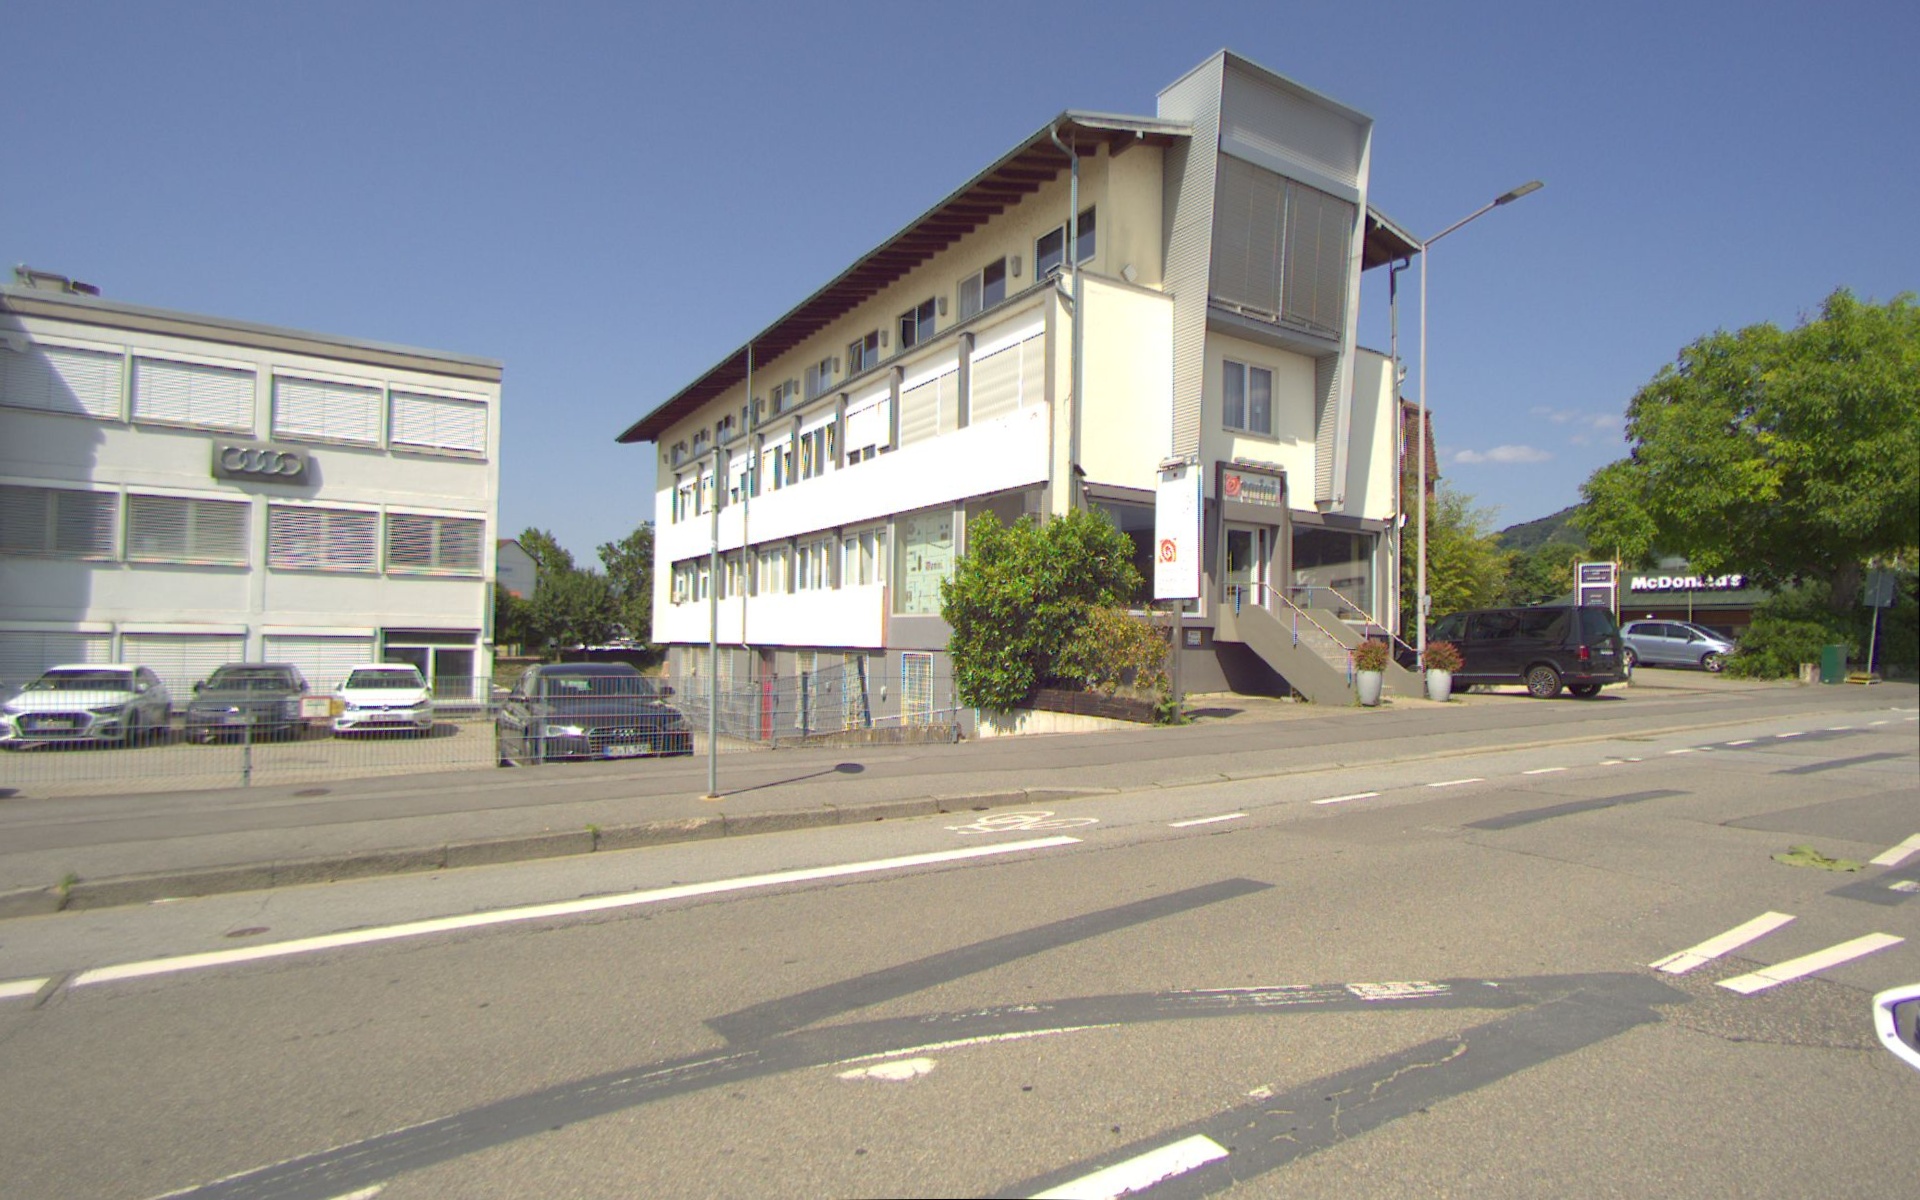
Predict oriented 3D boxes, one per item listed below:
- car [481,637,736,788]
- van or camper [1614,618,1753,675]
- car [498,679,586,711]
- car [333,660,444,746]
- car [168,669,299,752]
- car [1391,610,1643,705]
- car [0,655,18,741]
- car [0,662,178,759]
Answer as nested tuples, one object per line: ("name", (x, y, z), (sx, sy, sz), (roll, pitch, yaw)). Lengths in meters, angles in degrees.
("car", (-4.612, 1.229, 12.662), (2.026, 1.500, 4.713), (1, -2, -32))
("van or camper", (23.830, 1.493, 33.189), (1.614, 1.687, 3.376), (1, 0, -29))
("car", (-23.798, 5.391, 57.225), (4.399, 1.526, 2.139), (1, -2, -31))
("car", (-12.160, 2.081, 21.261), (1.839, 1.480, 3.965), (1, -2, -32))
("car", (-14.344, 2.113, 20.027), (1.839, 1.281, 3.965), (1, -2, -32))
("car", (12.353, 1.199, 22.554), (2.073, 1.890, 4.534), (1, -1, -36))
("car", (-18.174, 1.813, 17.479), (1.839, 1.566, 3.965), (1, -1, -32))
("car", (-15.992, 1.941, 18.472), (1.793, 1.421, 3.971), (3, -2, -28))
